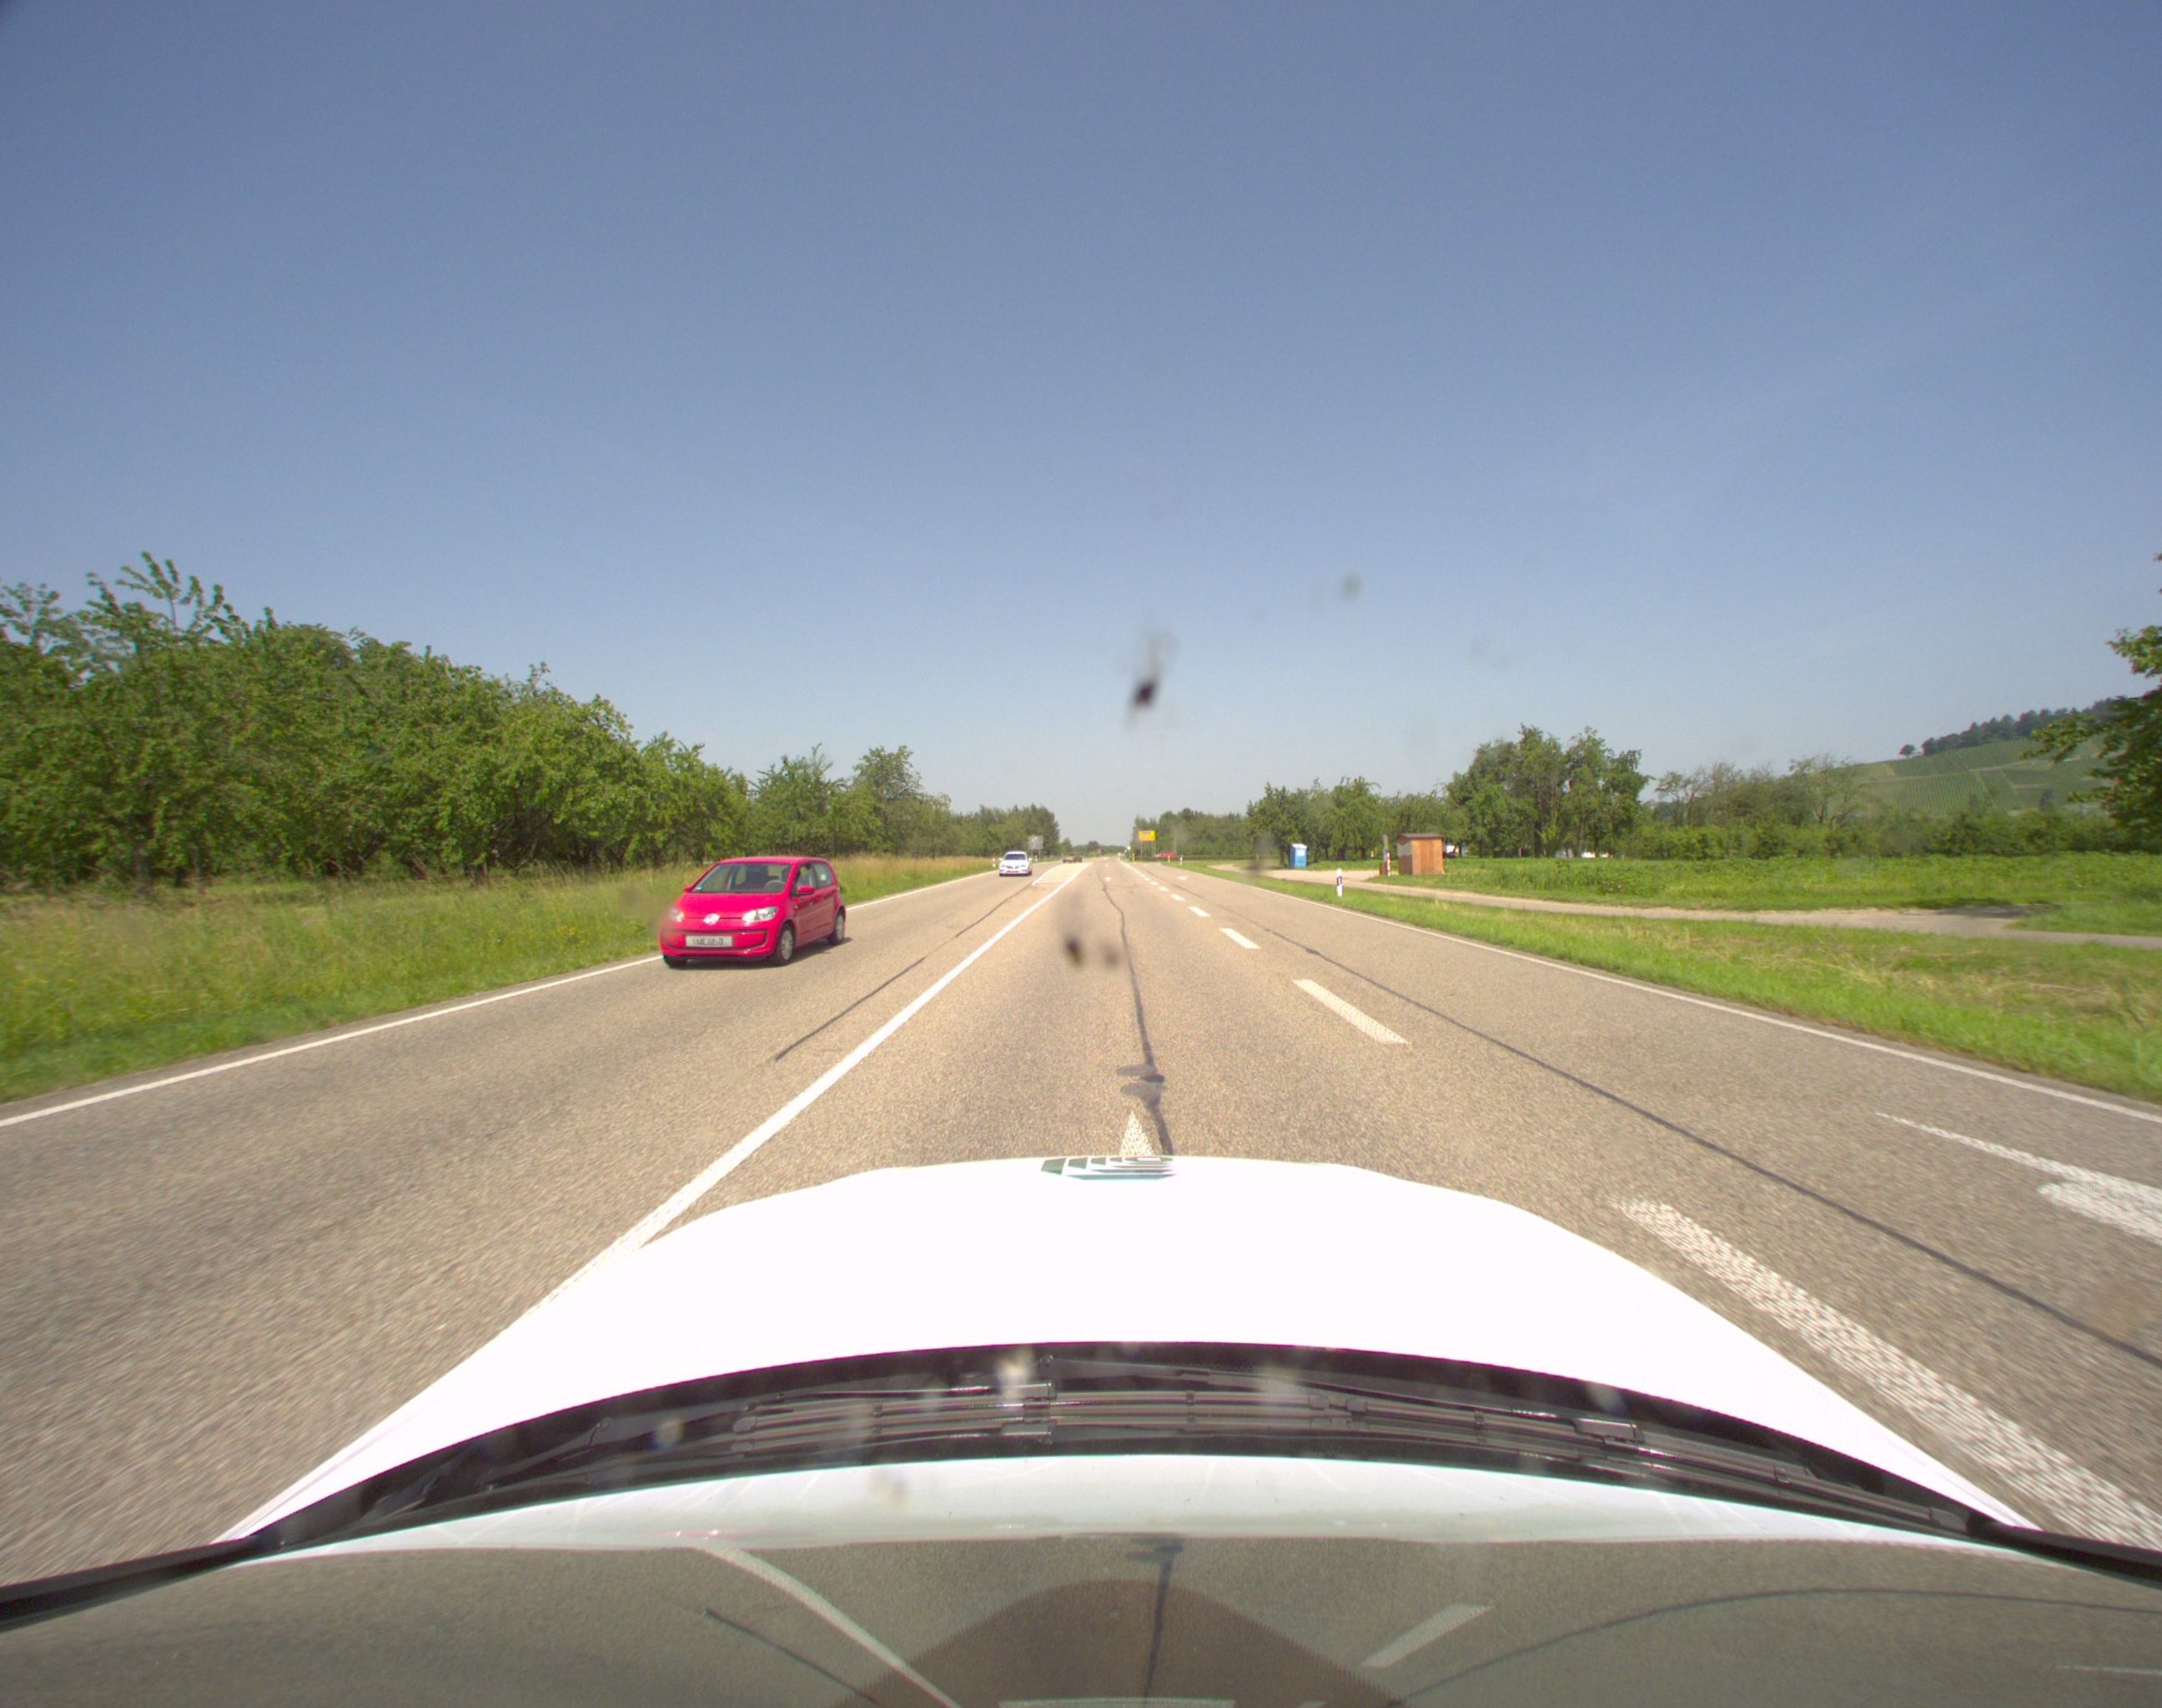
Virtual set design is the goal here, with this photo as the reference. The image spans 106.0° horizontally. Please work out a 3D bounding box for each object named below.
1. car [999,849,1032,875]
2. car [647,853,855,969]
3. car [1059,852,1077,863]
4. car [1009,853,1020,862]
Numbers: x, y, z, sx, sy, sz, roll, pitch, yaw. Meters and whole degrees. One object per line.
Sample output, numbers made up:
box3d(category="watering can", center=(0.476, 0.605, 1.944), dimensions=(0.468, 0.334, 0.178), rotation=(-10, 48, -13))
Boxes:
box3d(category="car", center=(-3.997, 0.463, 50.147), dimensions=(1.670, 1.494, 4.136), rotation=(0, 0, 0))
box3d(category="car", center=(-4.734, 0.733, 12.265), dimensions=(1.620, 1.457, 3.621), rotation=(0, 0, 0))
box3d(category="car", center=(-1.769, 0.473, 116.177), dimensions=(1.685, 1.416, 3.838), rotation=(-1, 0, 13))
box3d(category="car", center=(-11.388, 0.562, 139.218), dimensions=(1.700, 1.423, 4.040), rotation=(-1, 0, -2))
